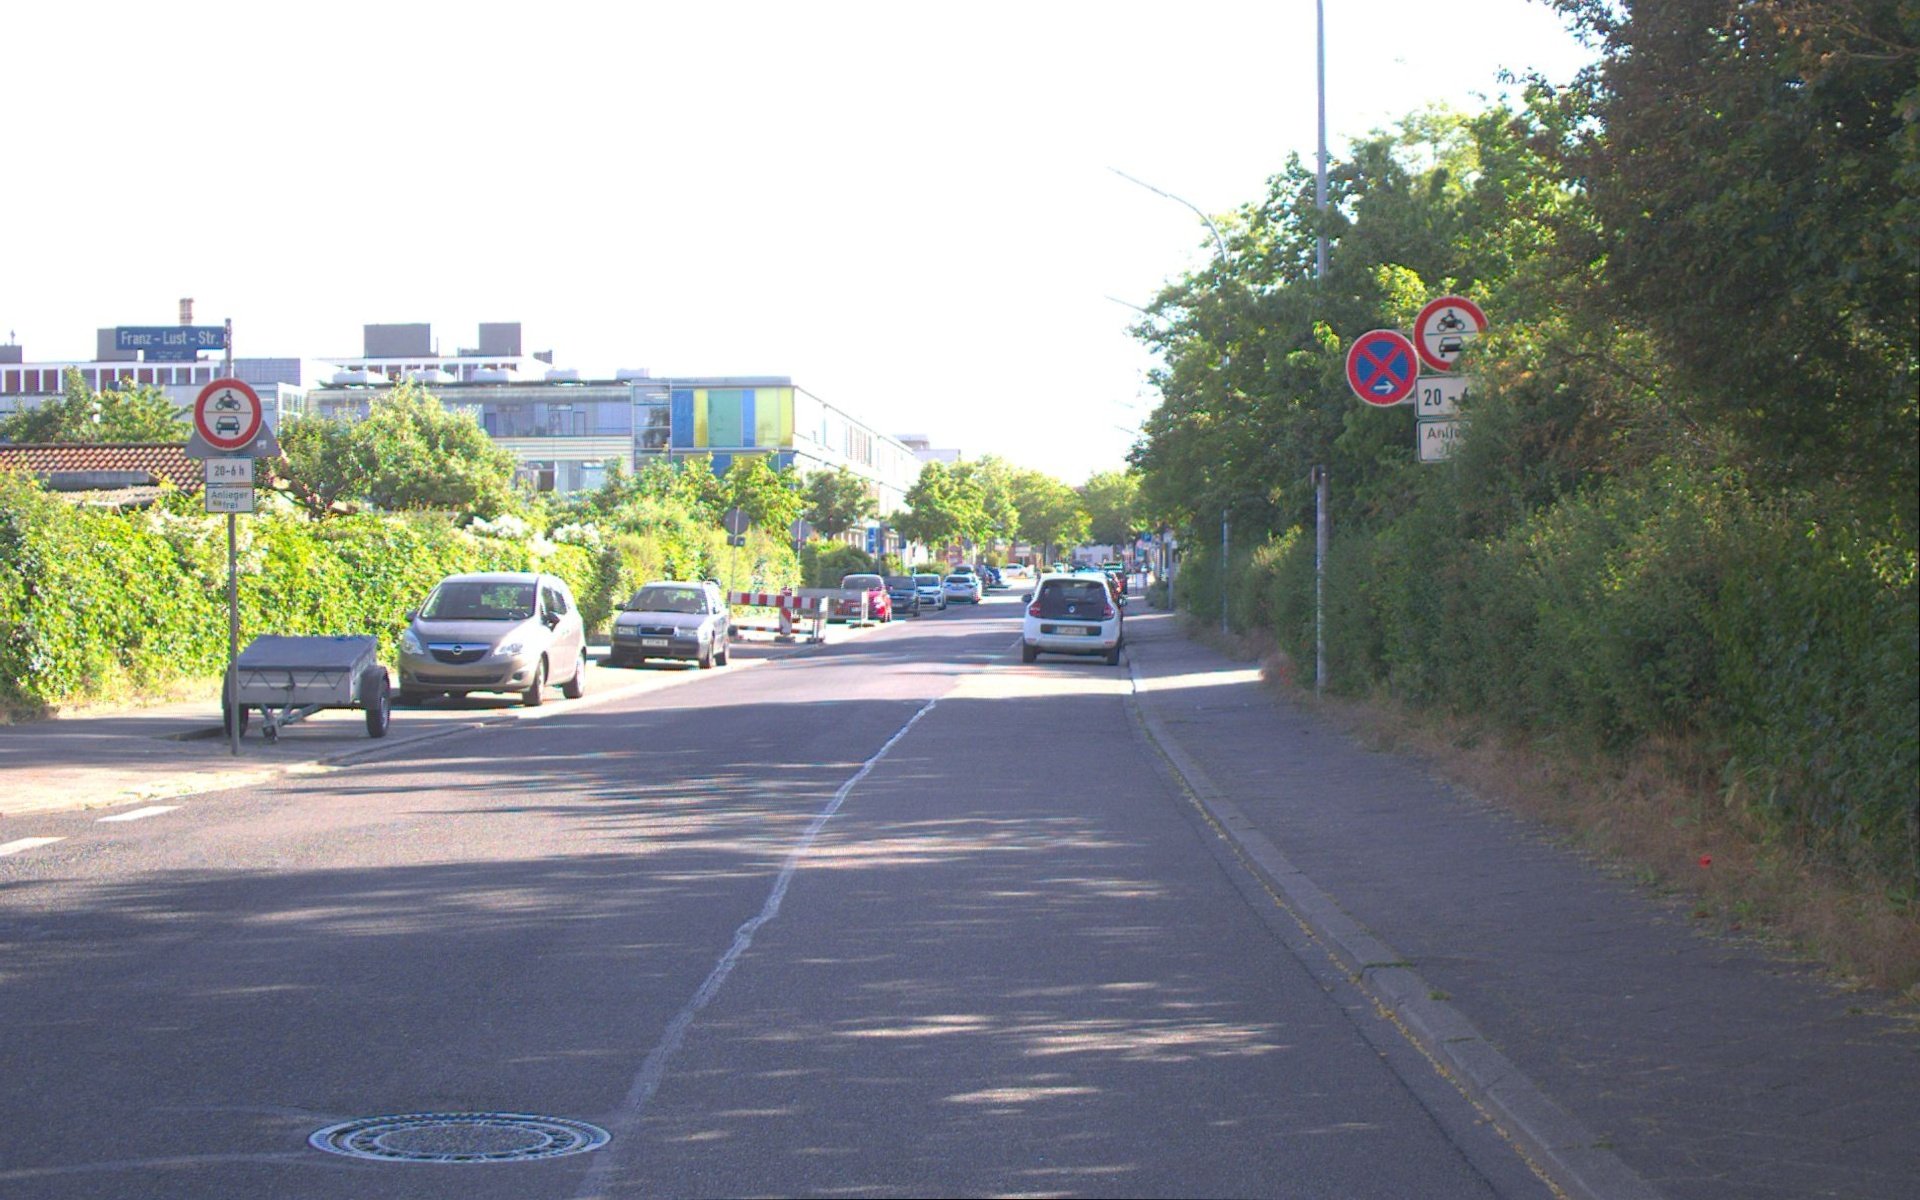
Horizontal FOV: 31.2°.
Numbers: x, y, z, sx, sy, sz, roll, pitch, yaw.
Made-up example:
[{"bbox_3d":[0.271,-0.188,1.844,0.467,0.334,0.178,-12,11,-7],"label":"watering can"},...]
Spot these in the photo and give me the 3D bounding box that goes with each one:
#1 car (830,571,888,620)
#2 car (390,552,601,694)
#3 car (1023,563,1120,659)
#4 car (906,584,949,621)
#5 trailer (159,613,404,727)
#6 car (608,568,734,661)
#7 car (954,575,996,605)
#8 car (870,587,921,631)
[{"bbox_3d":[-3.125,-0.141,106.765,1.560,1.490,3.570,1,0,2],"label":"car"},{"bbox_3d":[-5.684,0.273,42.517,1.644,1.594,4.310,3,0,4],"label":"car"},{"bbox_3d":[1.963,0.189,59.846,1.556,1.533,3.555,3,0,3],"label":"car"},{"bbox_3d":[-1.324,0.086,142.147,1.560,1.490,3.758,1,0,2],"label":"car"},{"bbox_3d":[-6.313,0.637,32.218,1.544,0.950,2.646,3,0,5],"label":"trailer"},{"bbox_3d":[-5.024,0.246,60.224,1.643,1.551,4.417,1,0,2],"label":"car"},{"bbox_3d":[0.755,-0.498,171.449,1.854,1.423,4.133,3,0,2],"label":"car"},{"bbox_3d":[-2.327,0.316,125.106,1.560,1.489,3.570,4,0,2],"label":"car"}]
